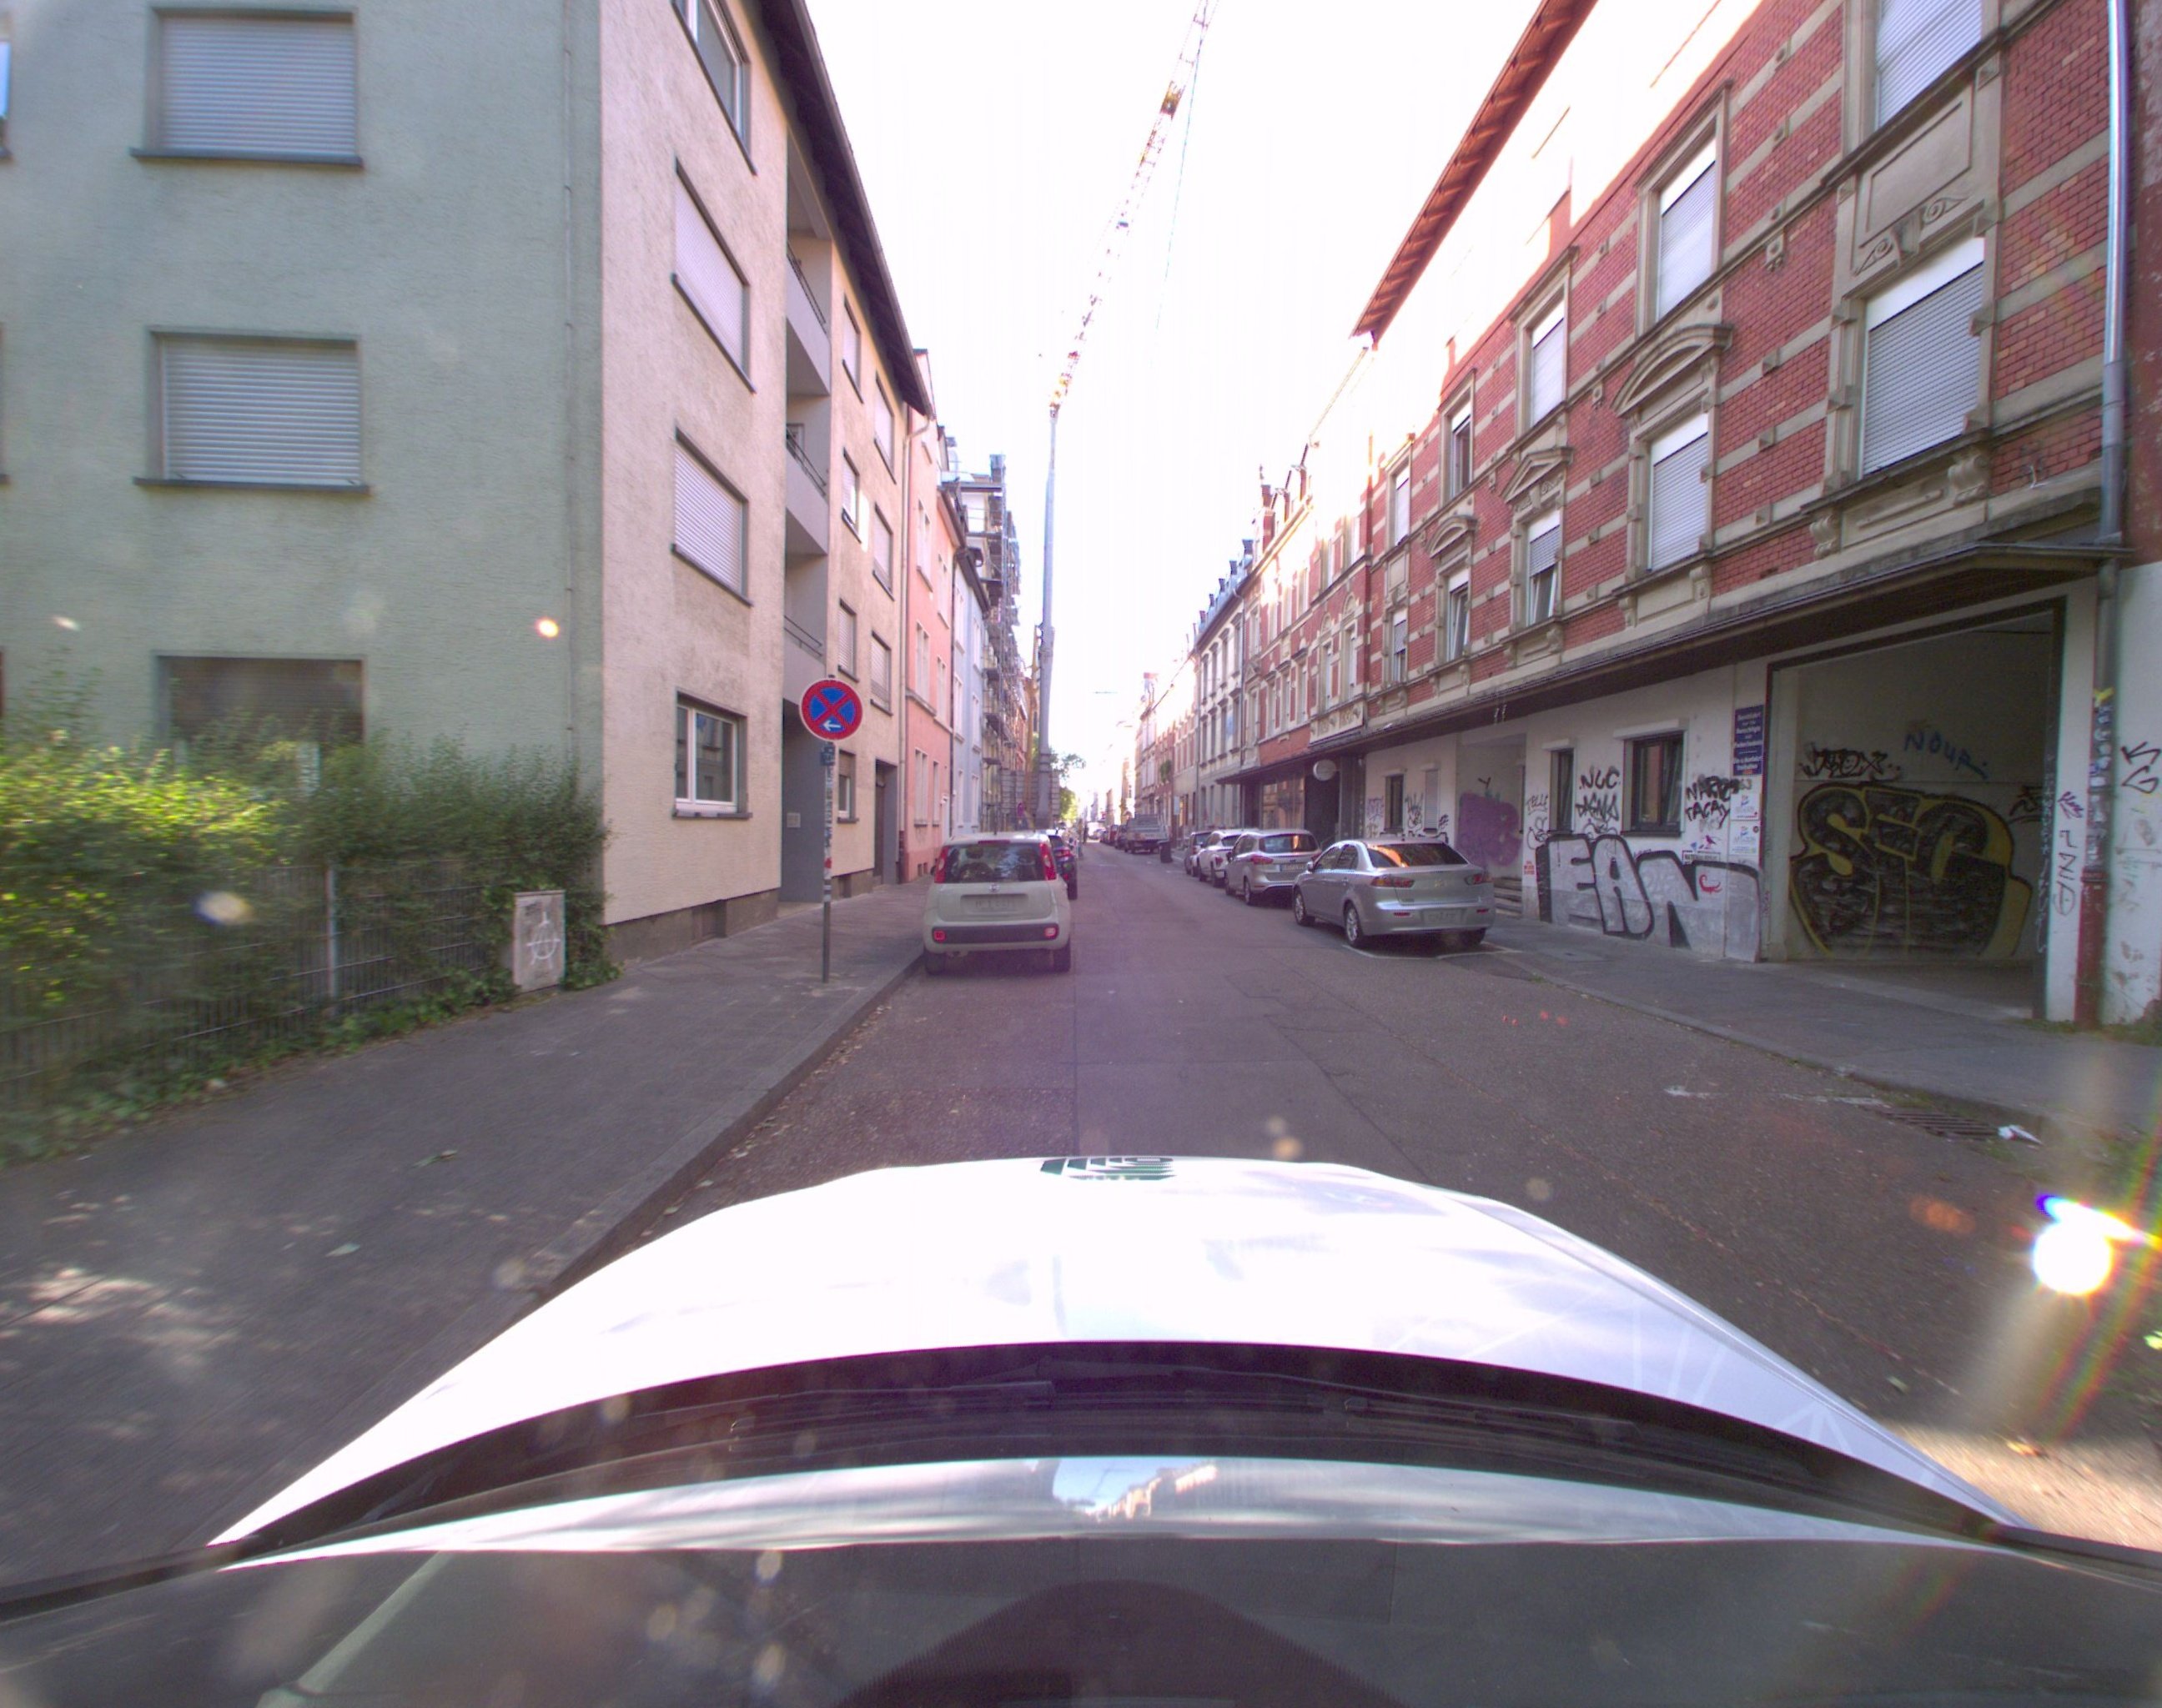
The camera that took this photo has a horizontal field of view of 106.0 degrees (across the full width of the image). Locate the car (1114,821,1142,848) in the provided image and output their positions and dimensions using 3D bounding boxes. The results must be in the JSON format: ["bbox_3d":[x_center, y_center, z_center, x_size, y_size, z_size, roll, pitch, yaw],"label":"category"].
[{"bbox_3d":[3.496,-1.473,61.763,1.671,1.962,4.105,0,2,-3],"label":"car"}]

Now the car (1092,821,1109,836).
[{"bbox_3d":[2.669,-3.463,112.121,1.989,2.013,3.997,1,2,-2],"label":"car"}]

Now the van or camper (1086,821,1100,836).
[{"bbox_3d":[2.082,-4.474,140.712,1.990,2.508,4.195,-1,2,-5],"label":"van or camper"}]

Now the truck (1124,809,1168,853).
[{"bbox_3d":[4.024,-1.457,51.271,2.184,2.606,5.231,-1,2,-2],"label":"truck"}]

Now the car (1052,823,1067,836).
[{"bbox_3d":[-3.086,-3.513,115.633,1.988,1.848,3.997,-1,2,-2],"label":"car"}]

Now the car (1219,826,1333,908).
[{"bbox_3d":[4.278,0.203,18.408,1.635,1.656,3.869,0,2,0],"label":"car"}]

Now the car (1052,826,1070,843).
[{"bbox_3d":[-1.911,-1.871,76.957,1.671,1.571,3.865,0,2,-3],"label":"car"}]

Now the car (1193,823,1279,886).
[{"bbox_3d":[4.465,-0.045,24.061,1.741,1.675,4.341,0,2,0],"label":"car"}]

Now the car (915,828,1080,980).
[{"bbox_3d":[-0.965,0.458,10.361,1.671,1.539,3.865,-1,2,-3],"label":"car"}]

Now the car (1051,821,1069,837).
[{"bbox_3d":[-2.122,-2.517,82.219,1.671,1.571,3.865,0,2,-3],"label":"car"}]

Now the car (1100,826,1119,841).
[{"bbox_3d":[3.039,-2.217,87.721,1.671,1.571,3.865,0,2,-3],"label":"car"}]

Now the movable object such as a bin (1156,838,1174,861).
[{"bbox_3d":[4.040,-0.215,39.040,0.793,1.056,0.660,0,2,-1],"label":"movable object such as a bin"}]

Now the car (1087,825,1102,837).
[{"bbox_3d":[2.088,-3.596,125.823,1.988,1.848,3.997,-1,2,-2],"label":"car"}]

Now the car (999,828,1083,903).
[{"bbox_3d":[-0.961,0.170,19.301,1.725,1.539,4.373,-1,2,-3],"label":"car"}]

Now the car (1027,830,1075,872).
[{"bbox_3d":[-1.086,-0.163,30.694,1.670,1.477,4.606,0,2,-1],"label":"car"}]

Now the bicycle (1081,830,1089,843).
[{"bbox_3d":[0.376,-1.675,76.399,0.722,1.186,2.042,1,3,-1],"label":"bicycle"}]

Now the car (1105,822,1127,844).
[{"bbox_3d":[3.170,-1.921,74.236,1.671,2.031,3.865,0,2,-3],"label":"car"}]

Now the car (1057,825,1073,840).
[{"bbox_3d":[-1.742,-2.333,87.430,1.671,1.571,3.865,0,2,-3],"label":"car"}]

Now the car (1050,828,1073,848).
[{"bbox_3d":[-1.564,-1.261,63.270,1.671,1.445,3.865,0,2,-3],"label":"car"}]

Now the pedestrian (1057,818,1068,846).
[{"bbox_3d":[-1.196,-1.381,51.742,0.656,1.732,0.720,-2,2,-2],"label":"pedestrian"}]

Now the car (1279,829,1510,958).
[{"bbox_3d":[4.426,0.434,12.319,1.716,1.562,4.397,1,2,-1],"label":"car"}]

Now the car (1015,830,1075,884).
[{"bbox_3d":[-1.055,0.018,25.077,1.670,1.511,4.413,0,2,-1],"label":"car"}]

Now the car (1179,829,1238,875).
[{"bbox_3d":[4.518,-0.128,29.287,1.591,1.560,3.814,0,2,1],"label":"car"}]

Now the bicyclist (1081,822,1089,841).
[{"bbox_3d":[0.384,-2.139,76.347,0.728,1.761,0.835,1,2,-1],"label":"bicyclist"}]
